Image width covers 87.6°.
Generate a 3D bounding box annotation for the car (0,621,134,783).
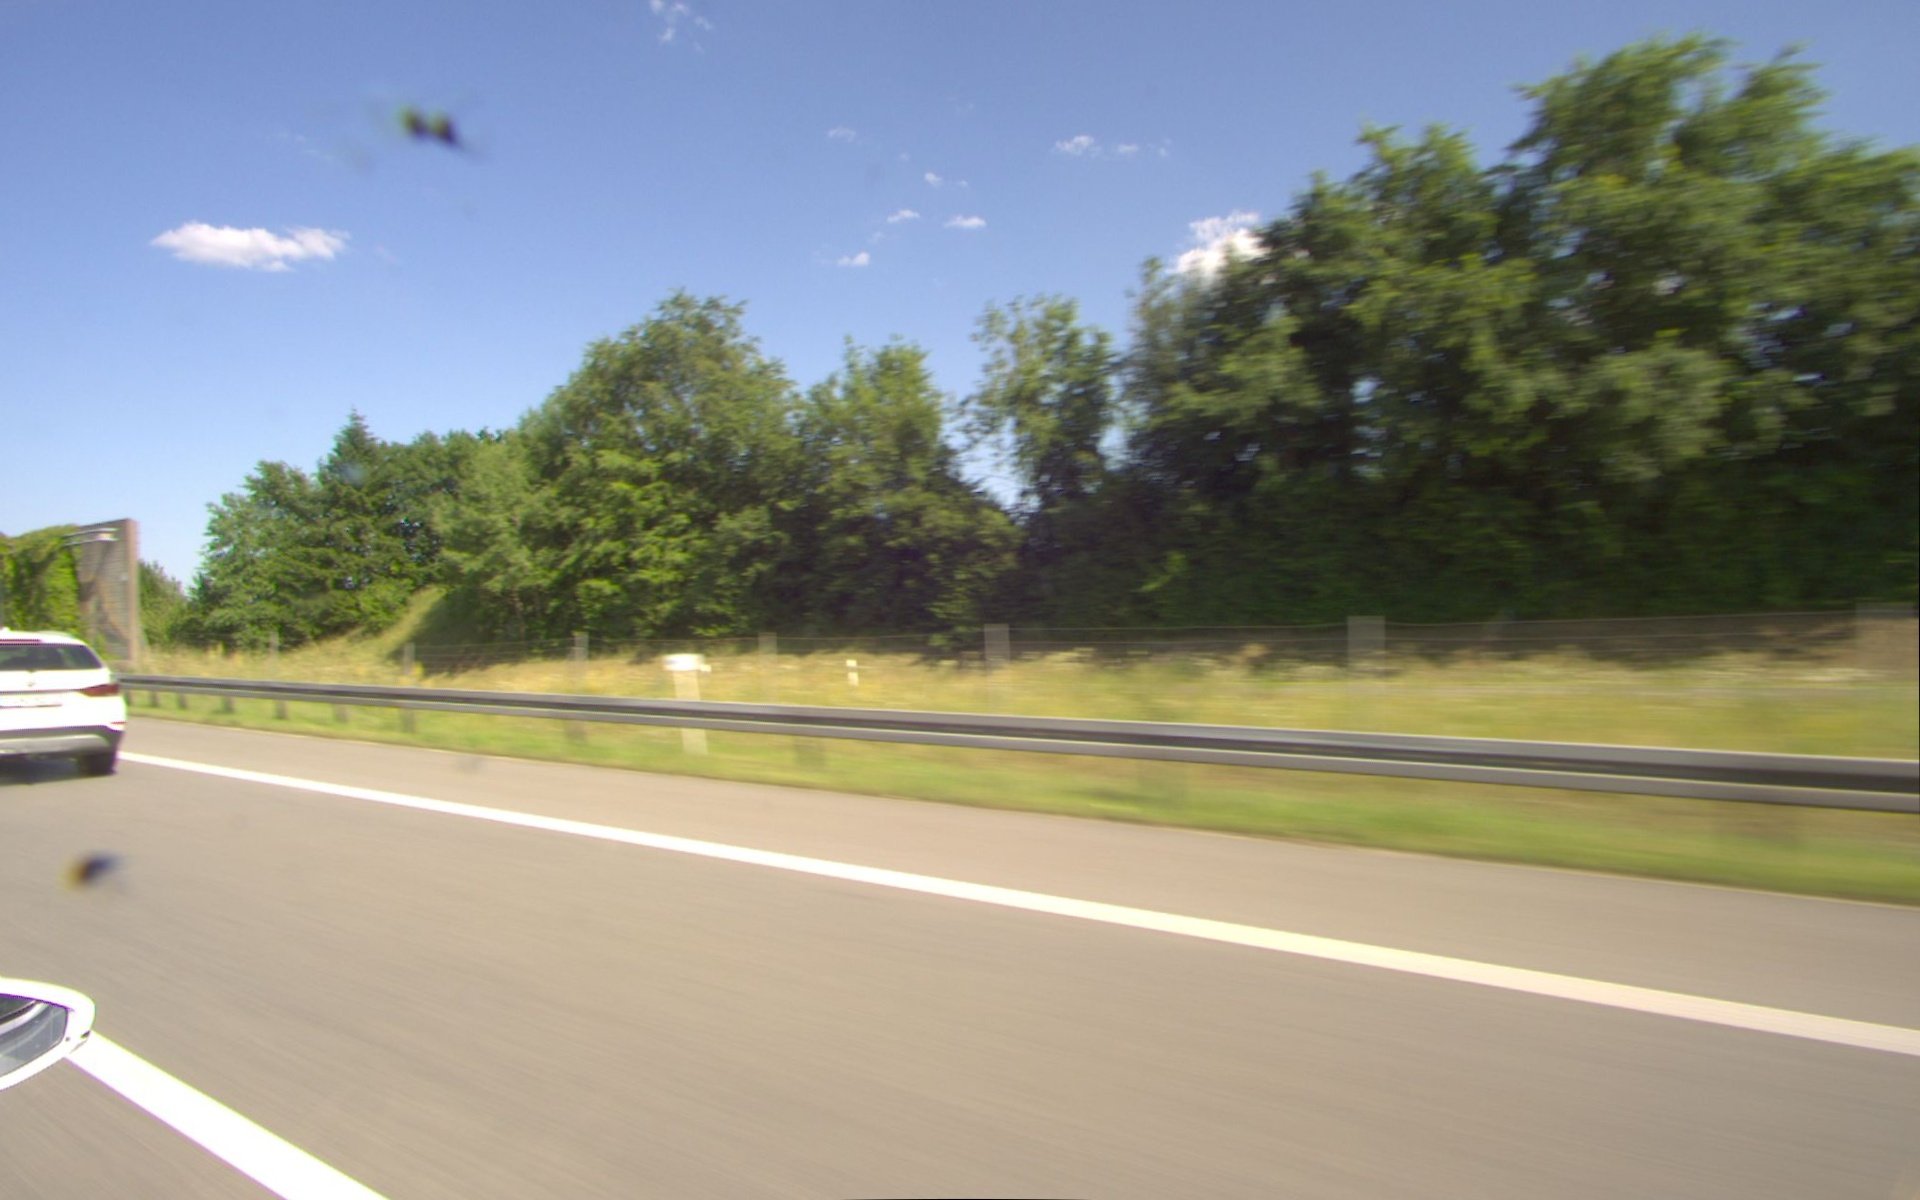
[{"bbox_3d":[-11.087,0.993,11.022,4.916,1.515,1.681,0,-2,33],"label":"car"}]
